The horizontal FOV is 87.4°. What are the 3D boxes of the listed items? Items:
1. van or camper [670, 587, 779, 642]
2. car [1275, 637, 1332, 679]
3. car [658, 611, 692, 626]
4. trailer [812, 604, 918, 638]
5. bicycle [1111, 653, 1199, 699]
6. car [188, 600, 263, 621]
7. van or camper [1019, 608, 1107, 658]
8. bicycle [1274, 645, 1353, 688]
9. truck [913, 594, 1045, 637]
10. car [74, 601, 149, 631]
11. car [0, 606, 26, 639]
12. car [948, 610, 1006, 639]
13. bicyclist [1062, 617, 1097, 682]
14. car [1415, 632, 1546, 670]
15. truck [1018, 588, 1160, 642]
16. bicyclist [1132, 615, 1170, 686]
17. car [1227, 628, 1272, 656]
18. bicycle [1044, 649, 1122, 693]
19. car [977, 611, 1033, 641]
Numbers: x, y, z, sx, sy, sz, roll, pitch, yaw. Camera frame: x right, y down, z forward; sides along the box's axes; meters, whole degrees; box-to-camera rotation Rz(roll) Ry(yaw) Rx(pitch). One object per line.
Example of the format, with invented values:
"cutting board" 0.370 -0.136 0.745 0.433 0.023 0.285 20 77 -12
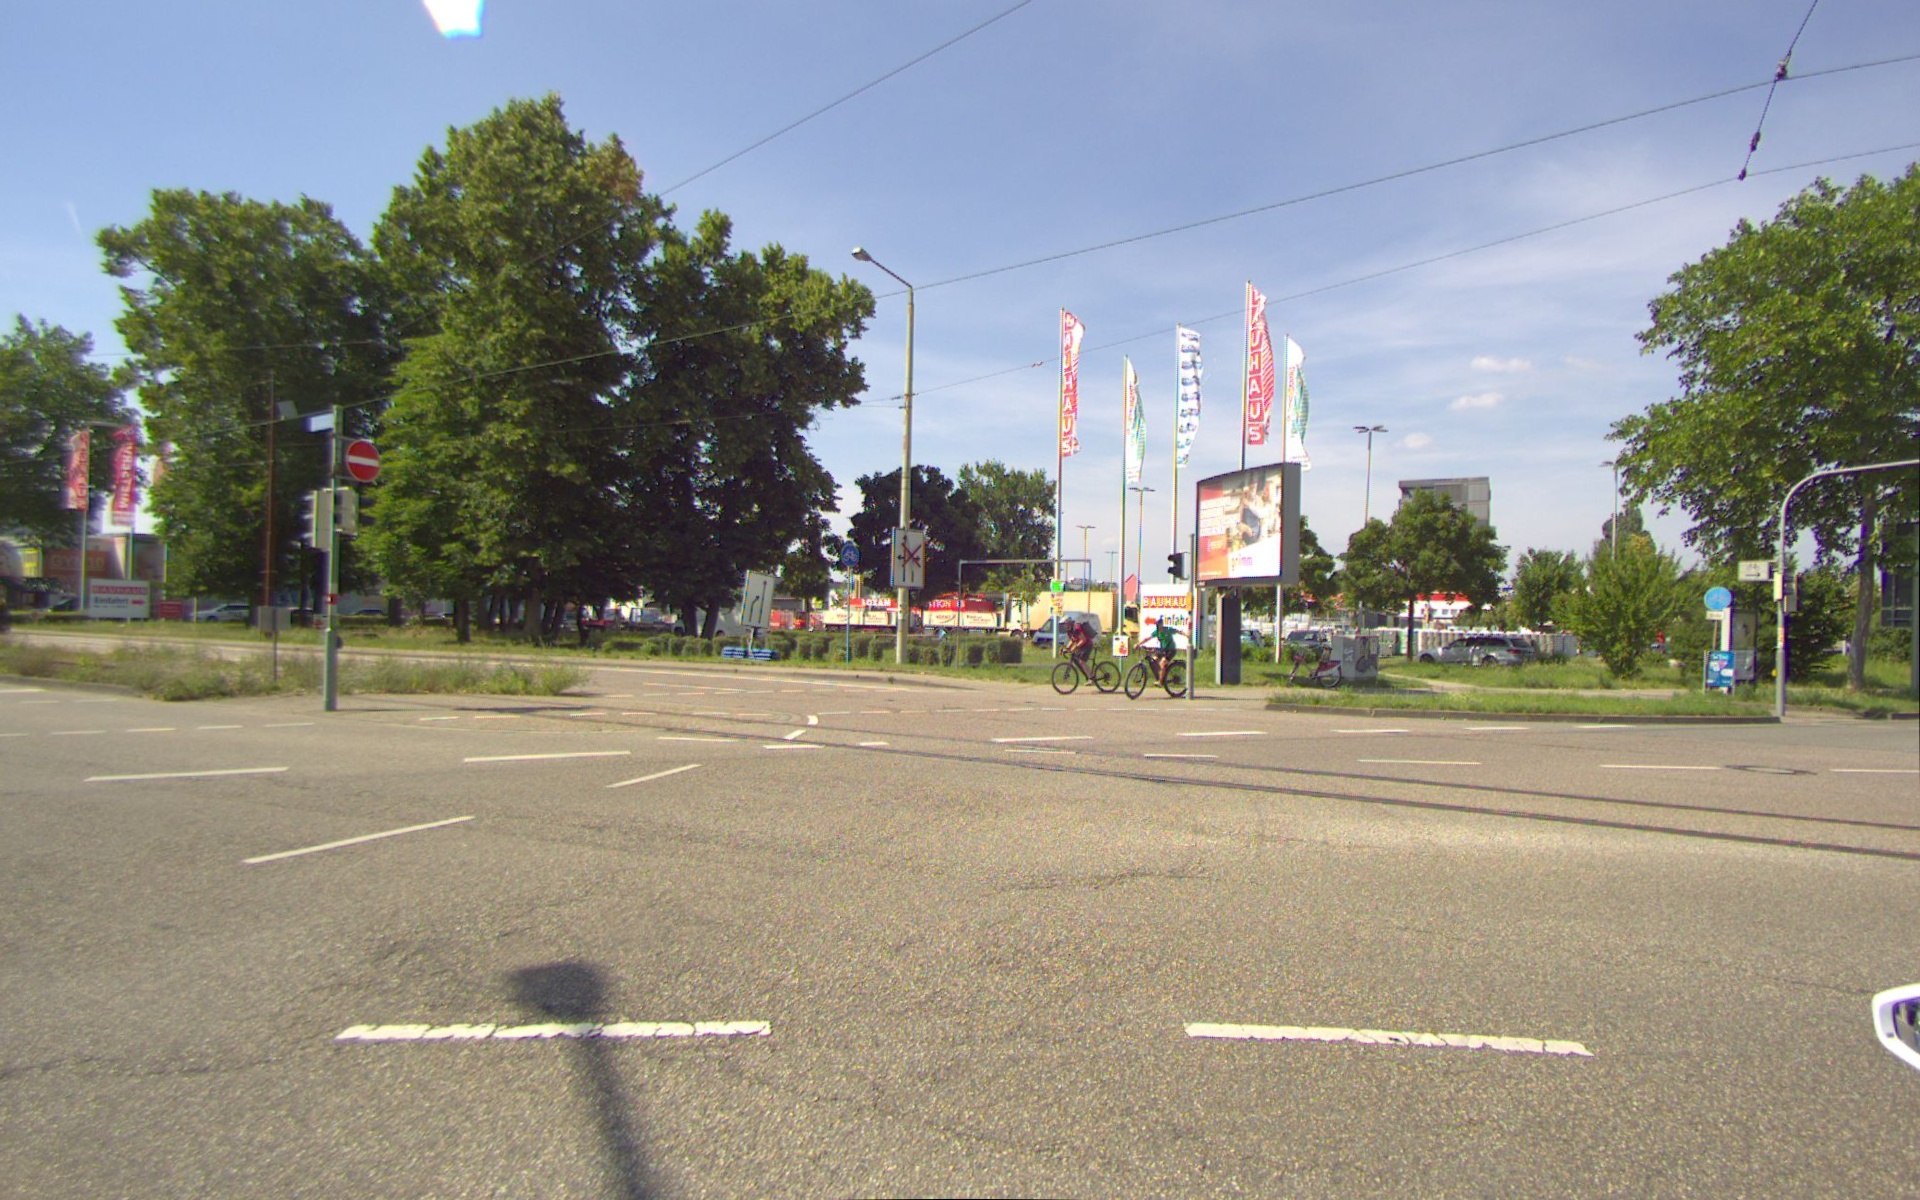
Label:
"van or camper" -14.256 0.858 60.672 6.212 3.141 2.707 1 -1 30
"car" 14.951 2.454 43.536 2.158 1.593 4.576 1 -1 21
"car" -35.940 2.383 126.608 1.815 1.817 3.991 1 -1 31
"trailer" -7.527 1.607 78.933 8.063 2.523 2.921 0 -1 30
"bicycle" 4.243 1.638 21.793 1.969 0.950 0.415 2 -1 -24
"car" -57.216 0.833 78.304 1.842 1.585 4.373 0 -1 31
"van or camper" 5.080 1.597 48.730 2.157 2.239 5.509 1 -1 30
"bicycle" 8.979 1.686 25.513 1.862 1.051 0.595 1 -1 -12
"truck" 1.360 1.107 74.163 9.438 2.930 2.923 1 -1 28
"car" -60.379 1.131 71.486 3.972 2.040 1.975 2 -1 -43
"car" -44.886 1.002 46.342 4.152 1.462 1.784 0 -1 35
"car" 1.598 2.215 90.535 2.346 2.563 6.425 0 -1 31
"bicyclist" 2.677 1.106 22.545 0.600 1.433 0.527 1 -1 -21
"car" 22.193 2.128 42.996 2.177 1.433 4.536 2 -1 -33
"truck" 8.529 0.964 66.570 8.759 3.355 3.157 1 -1 27
"bicyclist" 4.139 1.088 21.732 0.601 1.511 0.526 1 -1 -23
"car" 17.624 2.537 61.094 1.788 1.593 4.274 1 -1 28
"bicycle" 2.762 1.590 22.523 1.725 0.950 0.433 2 -1 -21
"car" 4.043 2.308 89.182 2.346 2.563 6.113 0 -1 31
